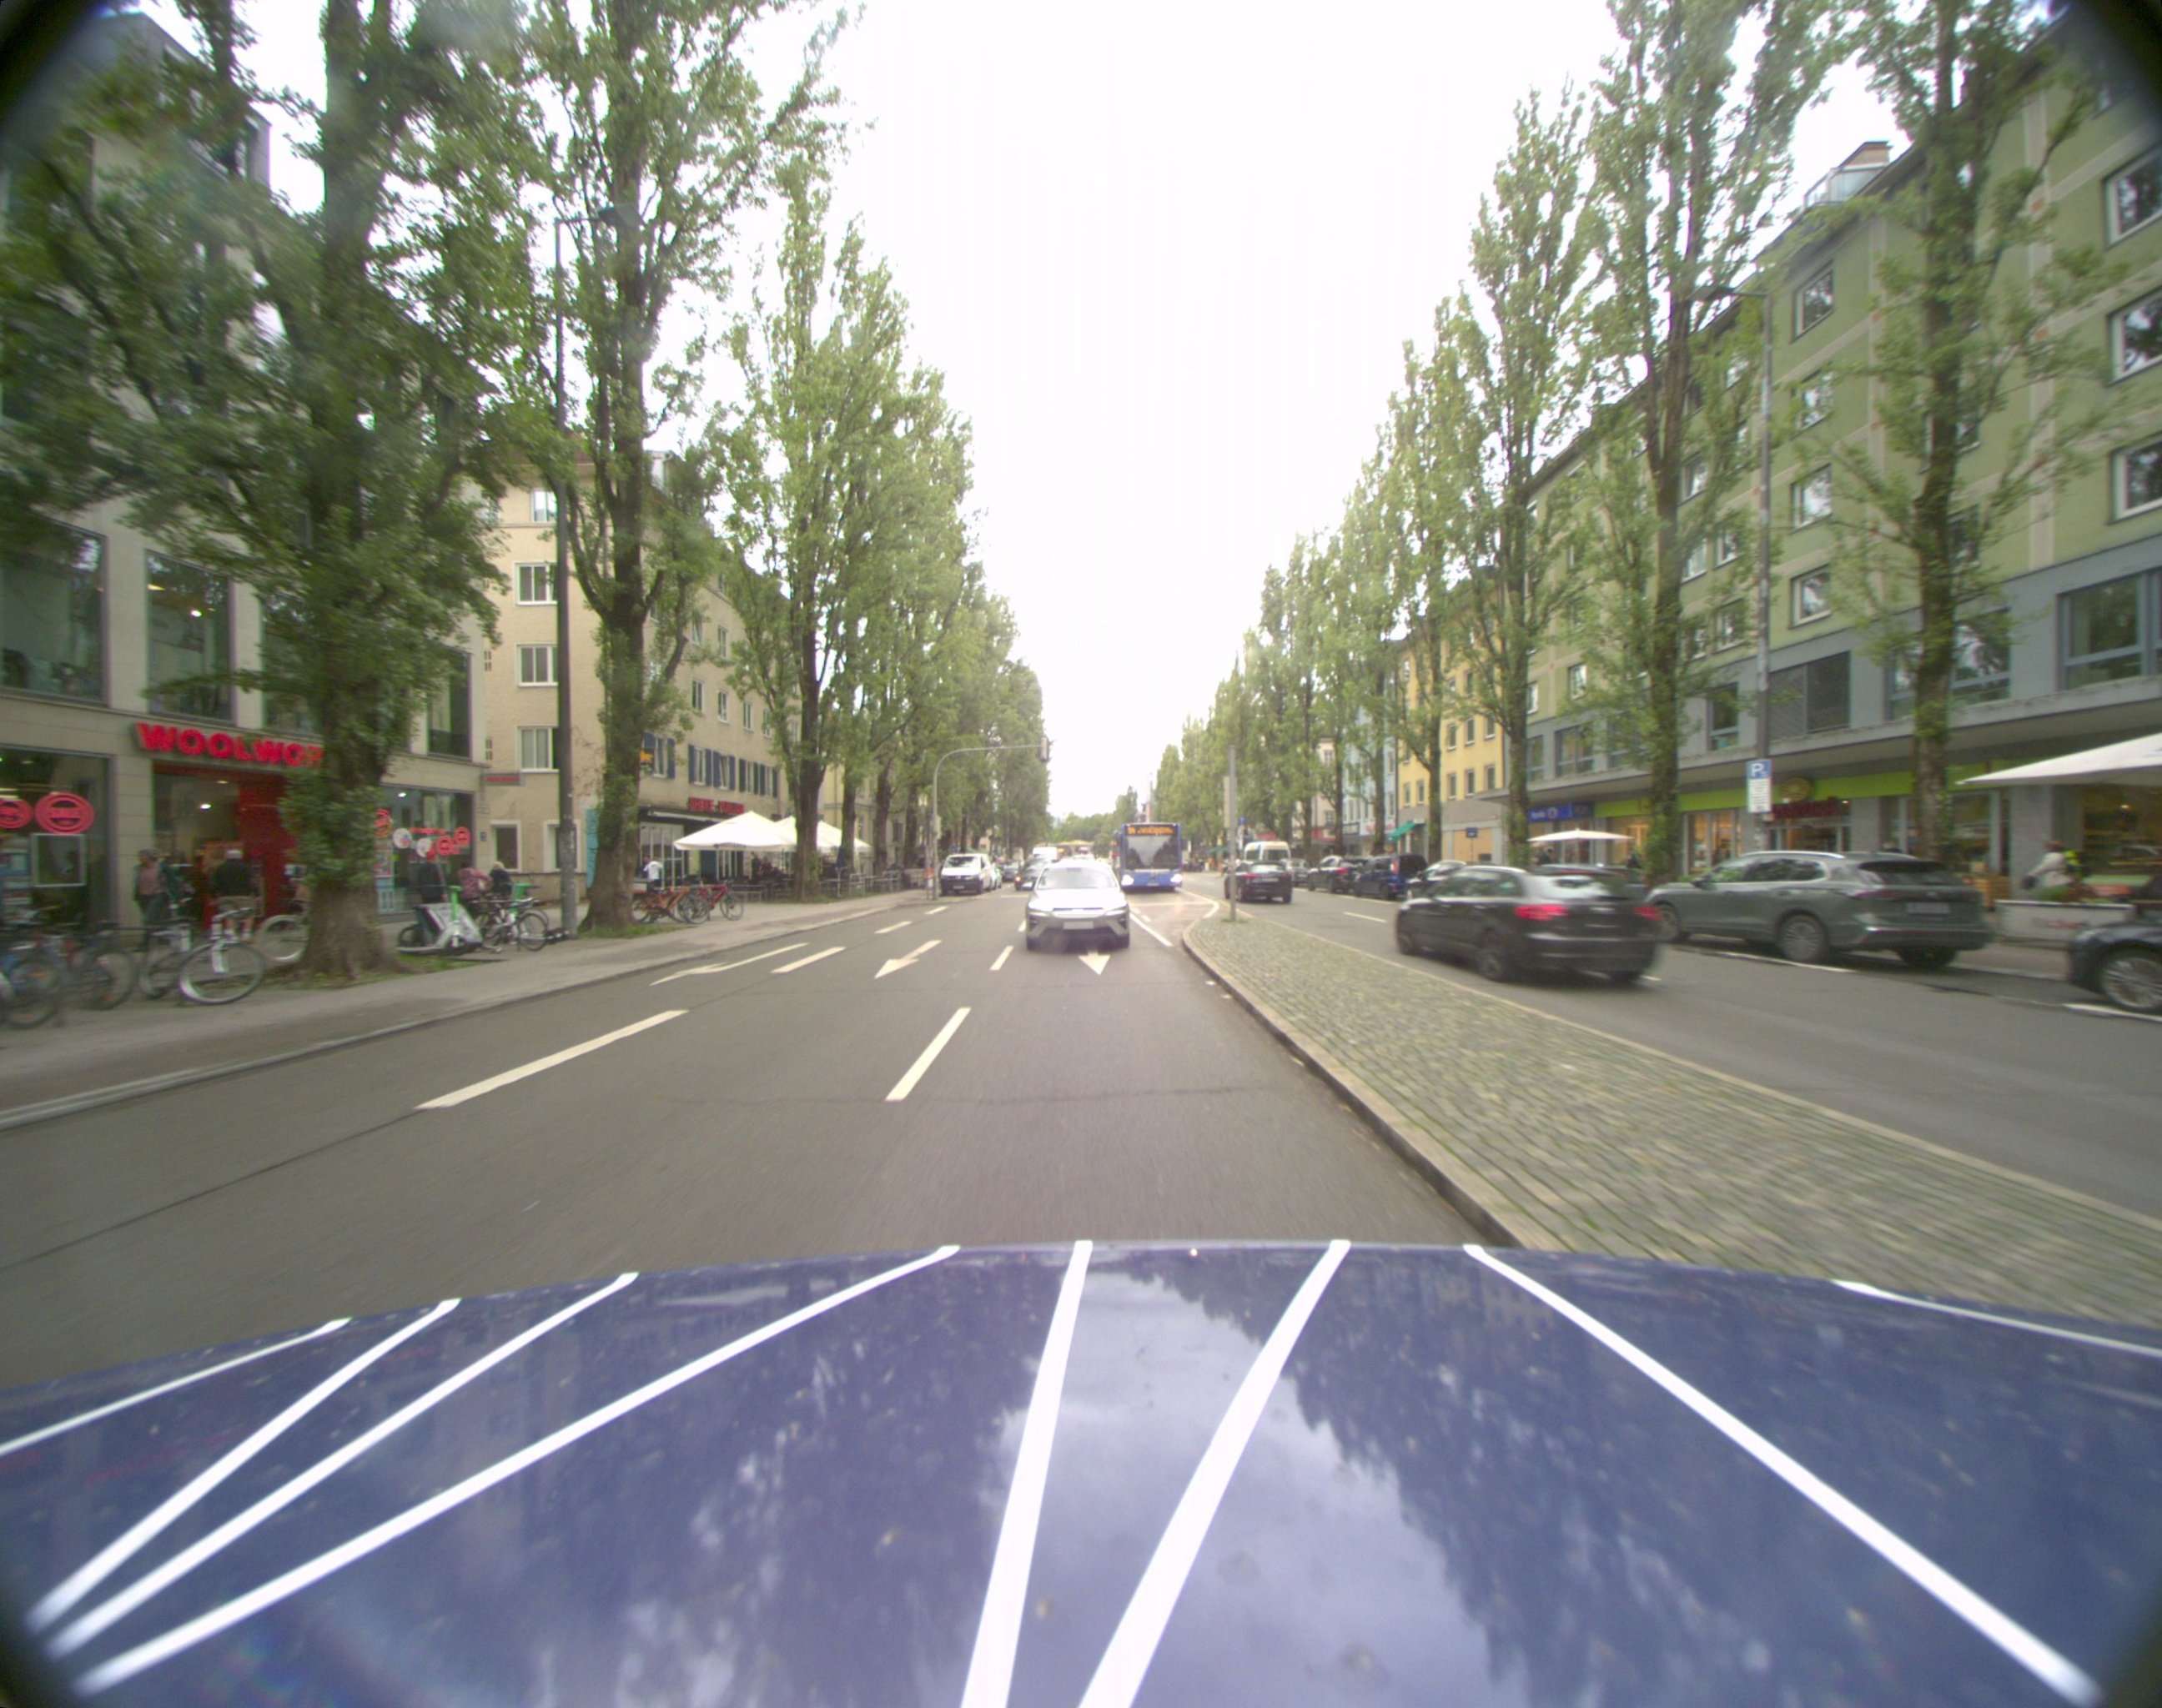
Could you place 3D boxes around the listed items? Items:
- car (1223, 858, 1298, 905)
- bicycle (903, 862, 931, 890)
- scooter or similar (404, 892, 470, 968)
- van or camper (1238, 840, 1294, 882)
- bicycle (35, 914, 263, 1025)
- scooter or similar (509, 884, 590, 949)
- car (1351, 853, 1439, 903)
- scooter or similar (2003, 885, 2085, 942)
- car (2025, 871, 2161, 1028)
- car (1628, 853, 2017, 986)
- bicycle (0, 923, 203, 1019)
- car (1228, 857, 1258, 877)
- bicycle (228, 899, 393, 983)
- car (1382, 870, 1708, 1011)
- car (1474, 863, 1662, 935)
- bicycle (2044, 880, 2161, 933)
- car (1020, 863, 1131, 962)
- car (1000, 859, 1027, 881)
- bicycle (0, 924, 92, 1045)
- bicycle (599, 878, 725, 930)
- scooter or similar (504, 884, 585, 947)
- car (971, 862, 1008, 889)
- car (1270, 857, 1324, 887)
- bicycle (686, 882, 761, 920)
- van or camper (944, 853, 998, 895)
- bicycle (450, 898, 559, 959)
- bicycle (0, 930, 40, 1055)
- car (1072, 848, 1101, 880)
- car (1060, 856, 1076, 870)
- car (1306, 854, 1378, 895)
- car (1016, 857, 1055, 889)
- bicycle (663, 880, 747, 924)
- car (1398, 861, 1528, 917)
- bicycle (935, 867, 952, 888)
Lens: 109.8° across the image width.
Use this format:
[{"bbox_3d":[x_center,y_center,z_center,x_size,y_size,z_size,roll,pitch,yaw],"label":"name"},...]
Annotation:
[{"bbox_3d":[6.209,0.901,26.700,1.761,1.457,4.050,1,1,2],"label":"car"},{"bbox_3d":[-8.691,1.143,40.212,0.829,1.403,2.594,-2,0,-25],"label":"bicycle"},{"bbox_3d":[-10.615,1.233,12.523,1.241,1.163,0.404,0,2,30],"label":"scooter or similar"},{"bbox_3d":[11.931,0.443,49.413,2.131,2.536,6.644,-1,0,1],"label":"van or camper"},{"bbox_3d":[-10.340,1.266,8.465,1.871,1.129,0.339,-1,1,-7],"label":"bicycle"},{"bbox_3d":[-10.547,1.223,15.115,0.285,1.163,1.246,-1,1,43],"label":"scooter or similar"},{"bbox_3d":[11.703,0.853,28.614,1.622,1.677,3.770,2,1,-2],"label":"car"},{"bbox_3d":[17.681,1.070,13.982,0.440,0.936,1.246,0,1,26],"label":"scooter or similar"},{"bbox_3d":[11.069,0.939,6.027,1.681,1.458,4.369,1,1,0],"label":"car"},{"bbox_3d":[11.216,0.839,12.105,1.784,1.671,4.586,1,1,2],"label":"car"},{"bbox_3d":[-11.448,1.334,8.731,2.005,0.982,0.392,-1,1,-7],"label":"bicycle"},{"bbox_3d":[11.989,0.947,56.324,1.559,1.403,3.761,-1,0,2],"label":"car"},{"bbox_3d":[-11.797,1.287,11.736,0.392,1.057,2.006,1,0,5],"label":"bicycle"},{"bbox_3d":[5.778,0.969,10.201,1.841,1.353,4.176,1,0,1],"label":"car"},{"bbox_3d":[11.460,0.988,18.299,1.662,1.409,4.400,1,1,0],"label":"car"},{"bbox_3d":[21.134,1.043,15.578,0.480,0.966,1.850,-1,0,1],"label":"bicycle"},{"bbox_3d":[-0.077,0.964,14.145,1.758,1.529,3.916,-1,0,0],"label":"car"},{"bbox_3d":[-4.881,1.124,55.291,1.476,1.518,3.603,-1,0,2],"label":"car"},{"bbox_3d":[-10.734,1.263,7.289,1.666,1.100,0.396,-1,1,-10],"label":"bicycle"},{"bbox_3d":[-10.327,1.222,18.783,2.577,1.208,0.965,-1,0,1],"label":"bicycle"},{"bbox_3d":[-10.836,1.219,15.377,0.306,1.163,1.246,-1,1,40],"label":"scooter or similar"},{"bbox_3d":[-5.024,1.151,42.038,1.476,1.389,3.483,-1,0,2],"label":"car"},{"bbox_3d":[12.010,0.957,42.464,1.707,1.520,4.260,1,1,-1],"label":"car"},{"bbox_3d":[-9.926,1.299,21.142,1.844,1.003,0.503,-1,0,1],"label":"bicycle"},{"bbox_3d":[-5.266,0.908,36.846,1.795,1.894,4.566,-1,0,2],"label":"van or camper"},{"bbox_3d":[-10.205,1.302,13.453,1.842,1.003,0.393,1,1,10],"label":"bicycle"},{"bbox_3d":[-10.660,1.282,6.887,1.679,1.110,0.286,-1,1,-11],"label":"bicycle"},{"bbox_3d":[0.392,0.688,56.810,2.024,2.235,4.411,-2,0,0],"label":"car"},{"bbox_3d":[-1.490,0.989,89.038,1.758,1.529,3.916,-2,0,0],"label":"car"},{"bbox_3d":[11.489,0.858,33.779,1.707,1.623,4.503,1,1,1],"label":"car"},{"bbox_3d":[-2.339,0.982,40.138,1.758,1.529,3.916,-2,0,0],"label":"car"},{"bbox_3d":[-9.987,1.267,20.219,1.902,1.120,0.686,-1,0,1],"label":"bicycle"},{"bbox_3d":[11.380,0.987,23.044,1.707,1.438,4.585,0,1,1],"label":"car"},{"bbox_3d":[-7.564,1.264,41.884,0.568,1.072,2.503,-1,0,-2],"label":"bicycle"}]
